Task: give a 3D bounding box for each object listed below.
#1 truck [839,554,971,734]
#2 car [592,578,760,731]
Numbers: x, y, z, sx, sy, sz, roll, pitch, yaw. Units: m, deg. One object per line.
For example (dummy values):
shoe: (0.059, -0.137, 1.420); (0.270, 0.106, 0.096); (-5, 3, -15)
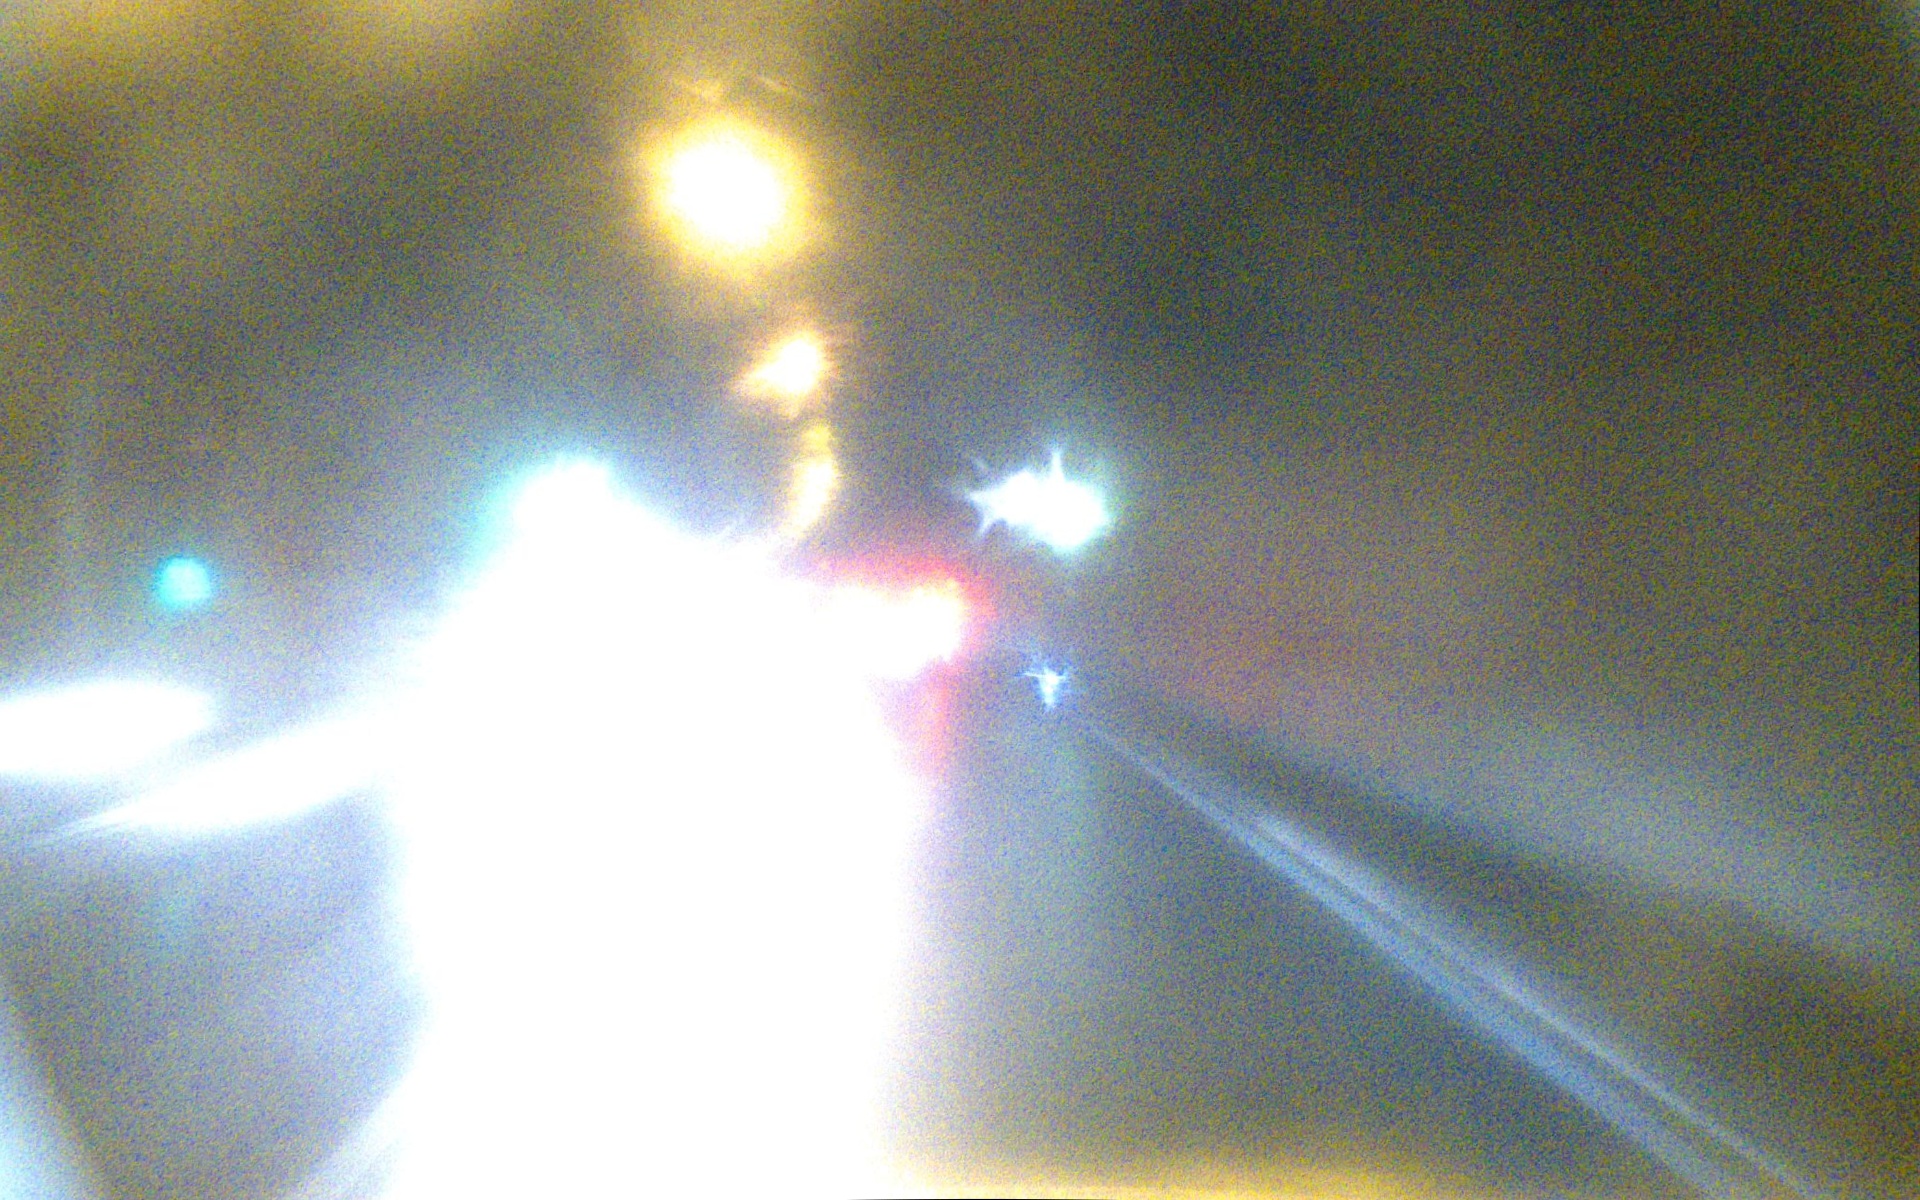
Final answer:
truck: (-1.033, 0.761, 32.550); (2.216, 3.063, 7.413); (2, 0, -1)
car: (-3.358, 0.583, 20.102); (1.598, 1.679, 3.772); (0, 0, -3)
